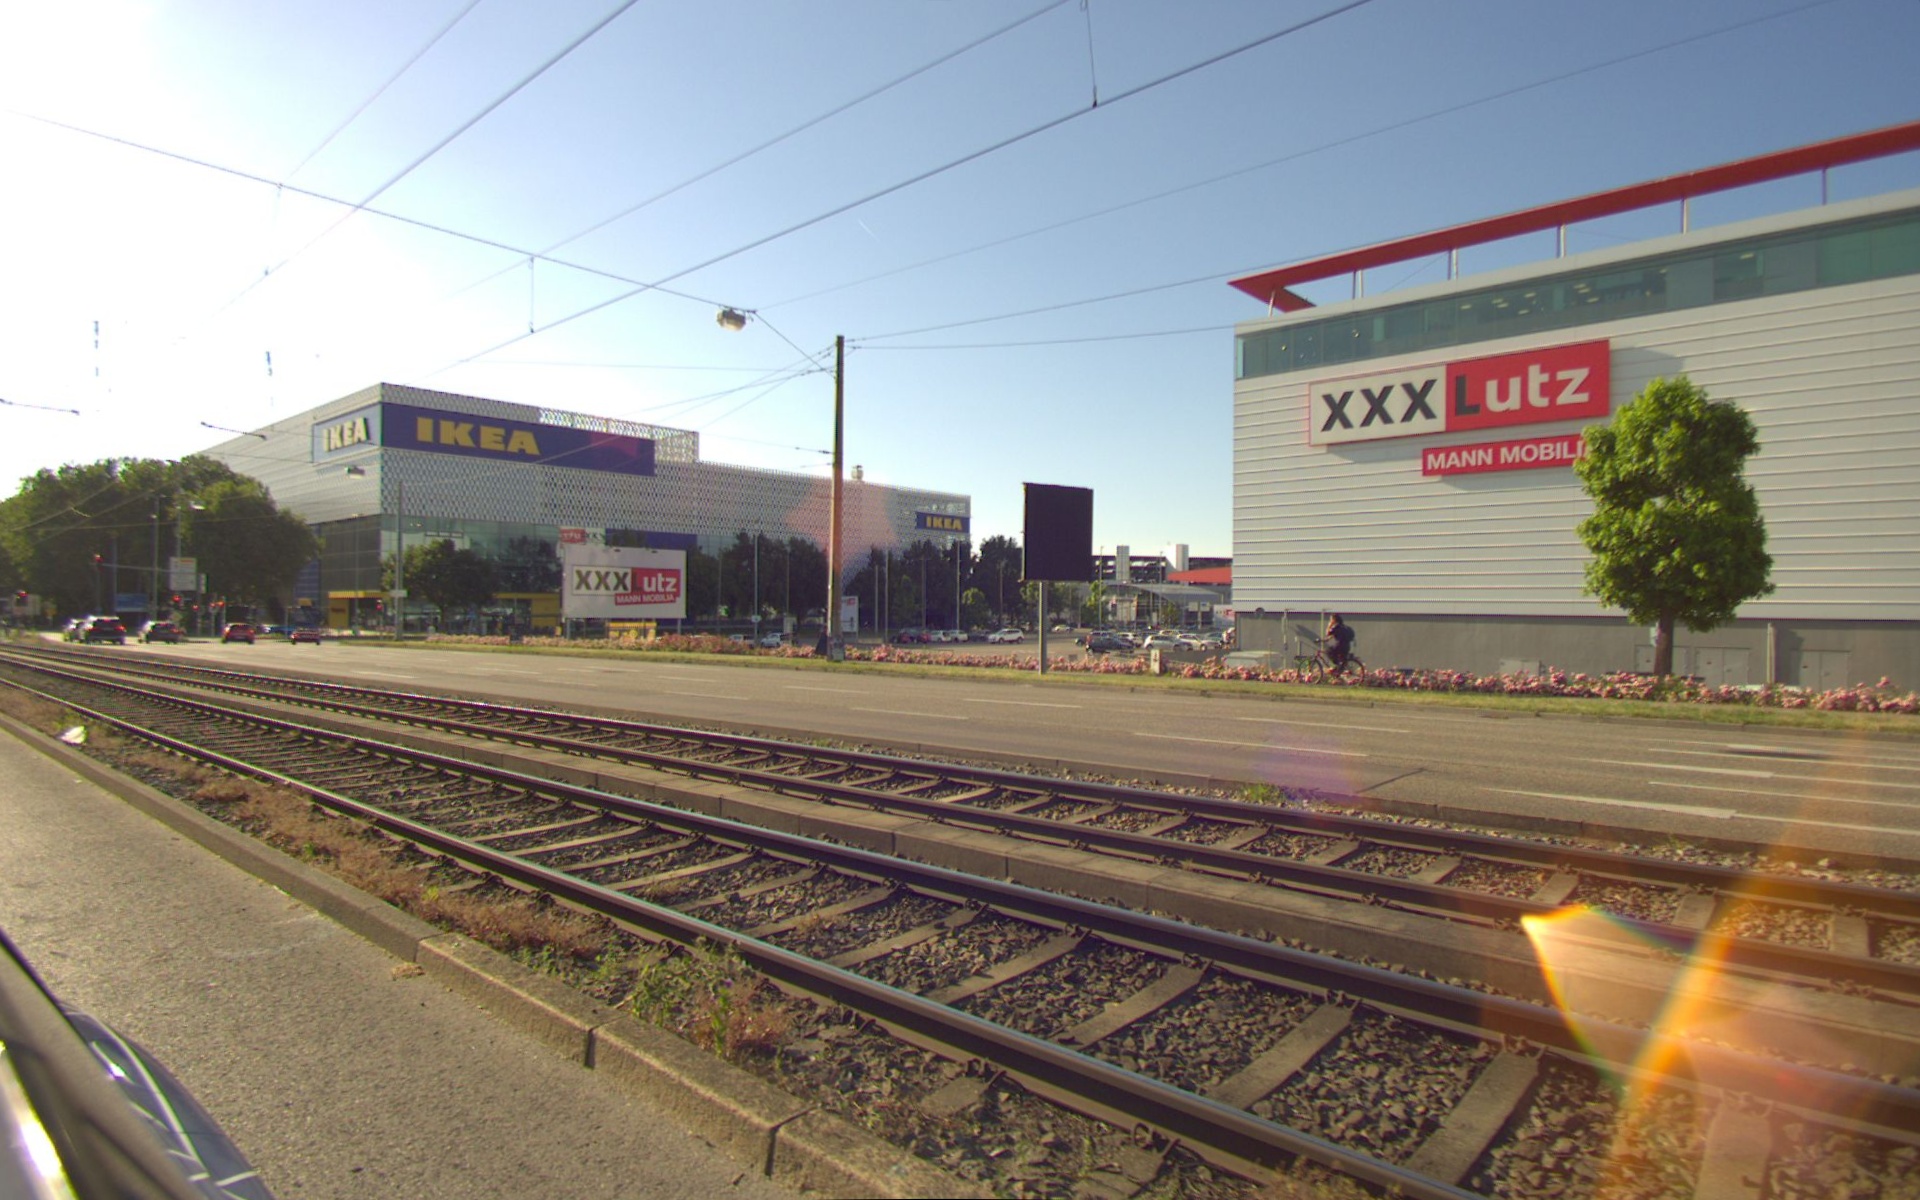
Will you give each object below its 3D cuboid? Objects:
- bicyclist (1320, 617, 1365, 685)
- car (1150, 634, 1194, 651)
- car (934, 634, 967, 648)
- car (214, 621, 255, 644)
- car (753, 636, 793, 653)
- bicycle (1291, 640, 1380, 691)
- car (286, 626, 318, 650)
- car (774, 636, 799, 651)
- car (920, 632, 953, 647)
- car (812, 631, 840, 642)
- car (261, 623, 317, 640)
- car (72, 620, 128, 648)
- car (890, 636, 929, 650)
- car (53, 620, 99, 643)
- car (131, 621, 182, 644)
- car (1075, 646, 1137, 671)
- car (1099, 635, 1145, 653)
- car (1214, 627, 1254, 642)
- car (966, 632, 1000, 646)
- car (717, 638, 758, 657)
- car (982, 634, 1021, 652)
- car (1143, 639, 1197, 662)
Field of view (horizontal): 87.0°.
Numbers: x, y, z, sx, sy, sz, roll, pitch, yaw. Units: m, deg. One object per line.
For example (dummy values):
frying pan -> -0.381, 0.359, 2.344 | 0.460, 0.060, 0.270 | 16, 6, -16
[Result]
bicyclist -> 9.596, 1.272, 25.421 | 0.653, 1.635, 0.802 | -2, 1, -40
car -> 22.154, 4.409, 105.744 | 3.994, 1.631, 1.856 | -1, 1, 38
car -> -1.155, 5.017, 125.269 | 3.999, 1.668, 1.777 | -1, -2, 42
car -> -50.661, 2.281, 70.656 | 1.911, 1.488, 4.138 | 3, -3, -41
car -> -19.622, 4.611, 106.009 | 3.994, 1.605, 1.911 | -1, 1, 38
bicycle -> 9.468, 1.635, 25.595 | 0.653, 1.159, 2.025 | -2, 1, -40
car -> -47.573, 2.738, 73.131 | 1.796, 1.655, 4.010 | 2, -3, -34
car -> -20.972, 5.215, 122.031 | 1.876, 1.580, 4.262 | -2, 1, -25
car -> -2.906, 4.808, 123.403 | 3.999, 1.668, 1.704 | -1, -2, 42
car -> -18.400, 5.005, 138.865 | 1.770, 1.471, 3.538 | 0, -3, 40
car -> -65.638, 3.065, 99.075 | 4.194, 1.509, 2.017 | 4, -3, -44
car -> -52.349, 2.050, 61.562 | 4.657, 1.668, 1.972 | -1, -3, 42
car -> -5.970, 5.048, 119.257 | 4.431, 1.563, 1.652 | -1, 1, 37
car -> -58.009, 2.045, 66.402 | 4.106, 1.459, 1.764 | -1, -3, 42
car -> -53.034, 2.151, 66.769 | 4.133, 1.472, 1.838 | -1, -1, 39
car -> 11.386, 4.560, 79.116 | 4.445, 1.715, 1.902 | -1, 1, 40
car -> 15.830, 4.263, 98.871 | 3.994, 1.631, 1.856 | -1, 1, 38
car -> 31.249, 3.941, 115.592 | 3.991, 1.631, 1.858 | -1, 1, 35
car -> 2.913, 4.947, 128.508 | 3.999, 1.668, 1.972 | -1, -1, 42
car -> -22.443, 4.768, 102.144 | 3.994, 1.758, 1.911 | -1, 1, 38
car -> 4.800, 4.925, 115.851 | 4.160, 1.813, 1.831 | -3, 1, -36
car -> 17.663, 4.248, 85.234 | 3.997, 1.715, 1.902 | -1, 1, 40
